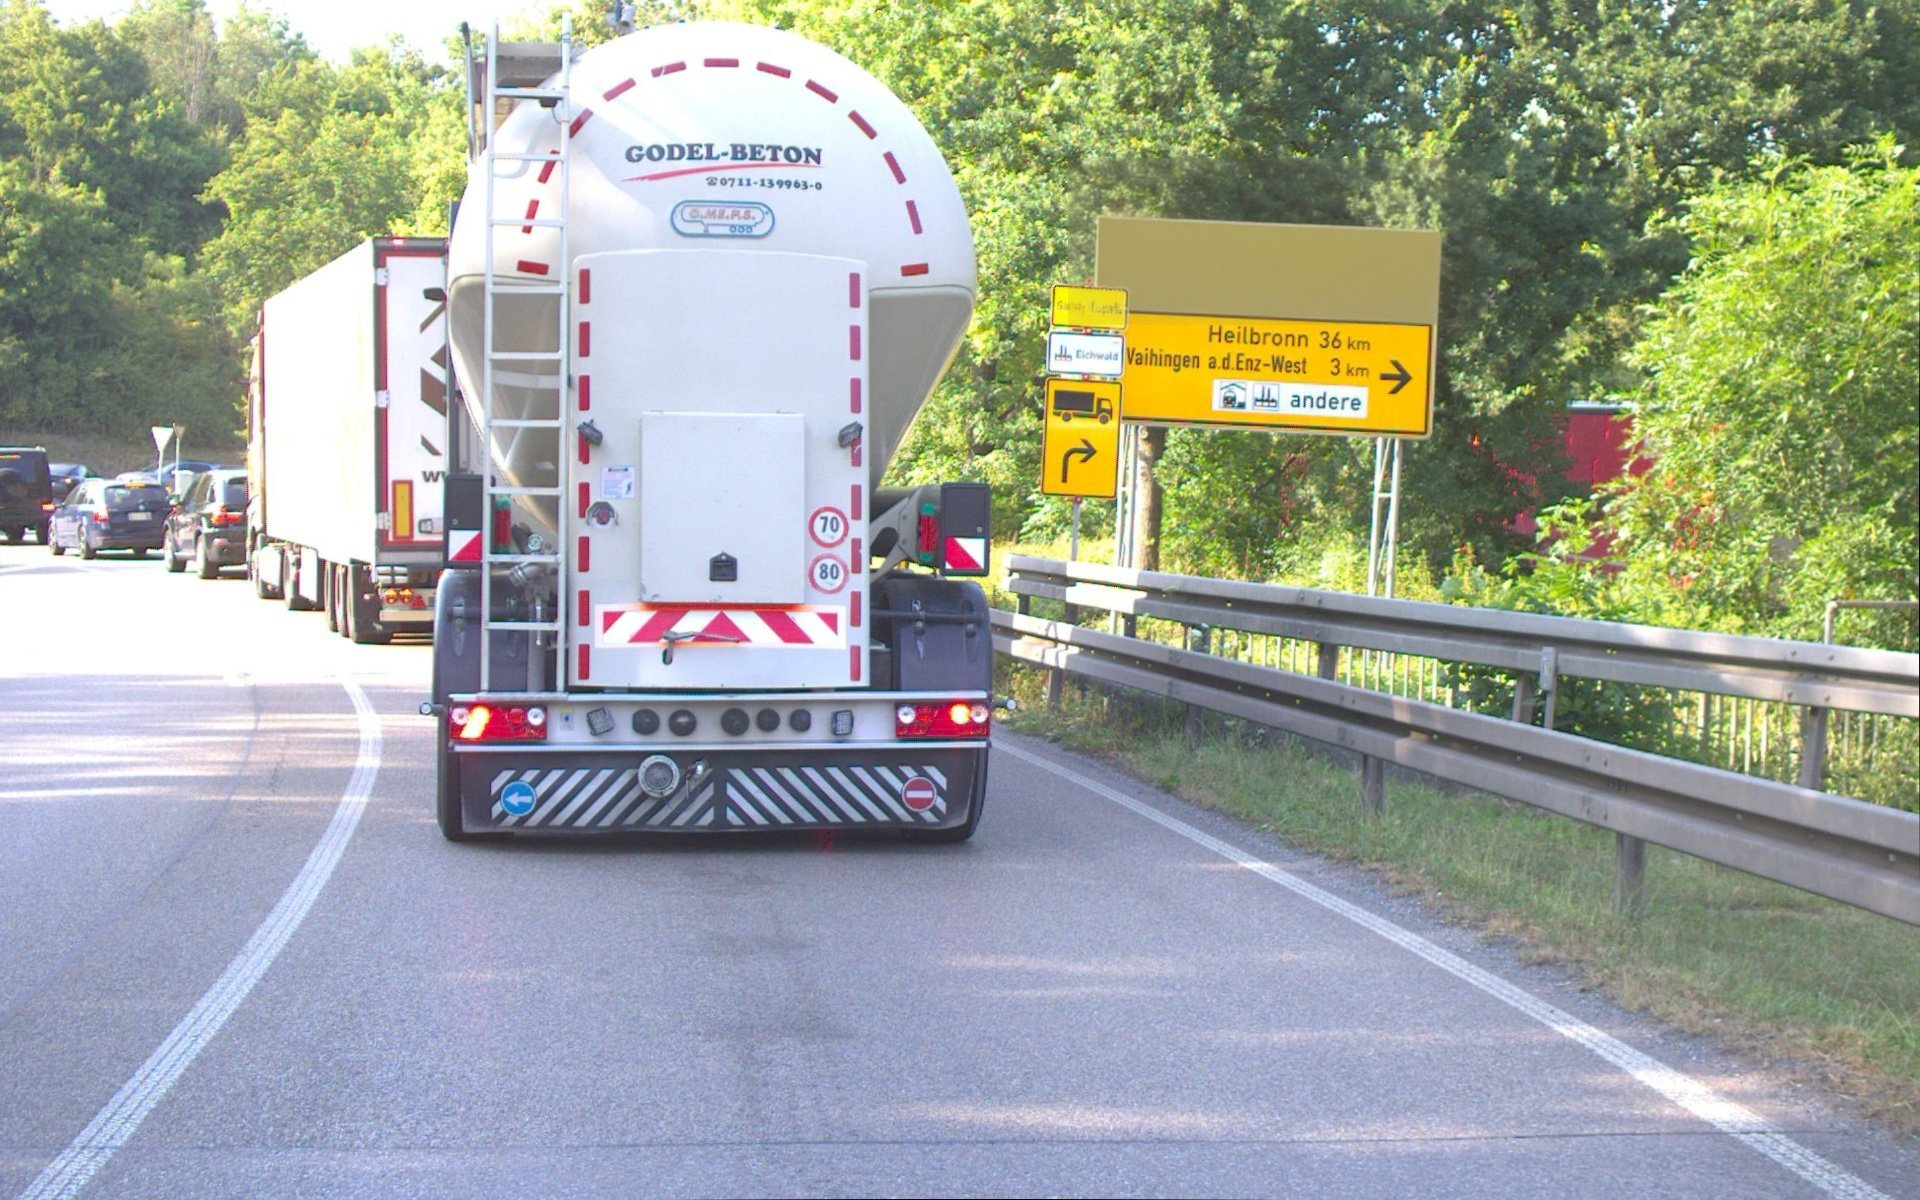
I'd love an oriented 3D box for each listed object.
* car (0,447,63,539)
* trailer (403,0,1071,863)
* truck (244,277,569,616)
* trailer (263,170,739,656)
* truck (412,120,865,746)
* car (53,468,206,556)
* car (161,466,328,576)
[{"bbox_3d":[-20.227,-2.245,71.645,1.956,1.845,4.001,-2,3,-30],"label":"car"},{"bbox_3d":[-1.655,-1.195,19.829,2.886,4.439,9.608,1,1,-8],"label":"trailer"},{"bbox_3d":[-7.460,-1.963,45.547,3.449,4.072,6.493,1,1,-16],"label":"truck"},{"bbox_3d":[-5.598,-1.921,38.921,3.544,4.497,12.989,1,1,-15],"label":"trailer"},{"bbox_3d":[-2.542,-1.145,25.274,2.823,4.021,5.896,0,2,-10],"label":"truck"},{"bbox_3d":[-15.391,-1.649,63.582,1.867,1.559,4.001,-1,3,-27],"label":"car"},{"bbox_3d":[-11.447,-1.280,54.839,1.867,1.622,4.001,2,1,-22],"label":"car"}]
